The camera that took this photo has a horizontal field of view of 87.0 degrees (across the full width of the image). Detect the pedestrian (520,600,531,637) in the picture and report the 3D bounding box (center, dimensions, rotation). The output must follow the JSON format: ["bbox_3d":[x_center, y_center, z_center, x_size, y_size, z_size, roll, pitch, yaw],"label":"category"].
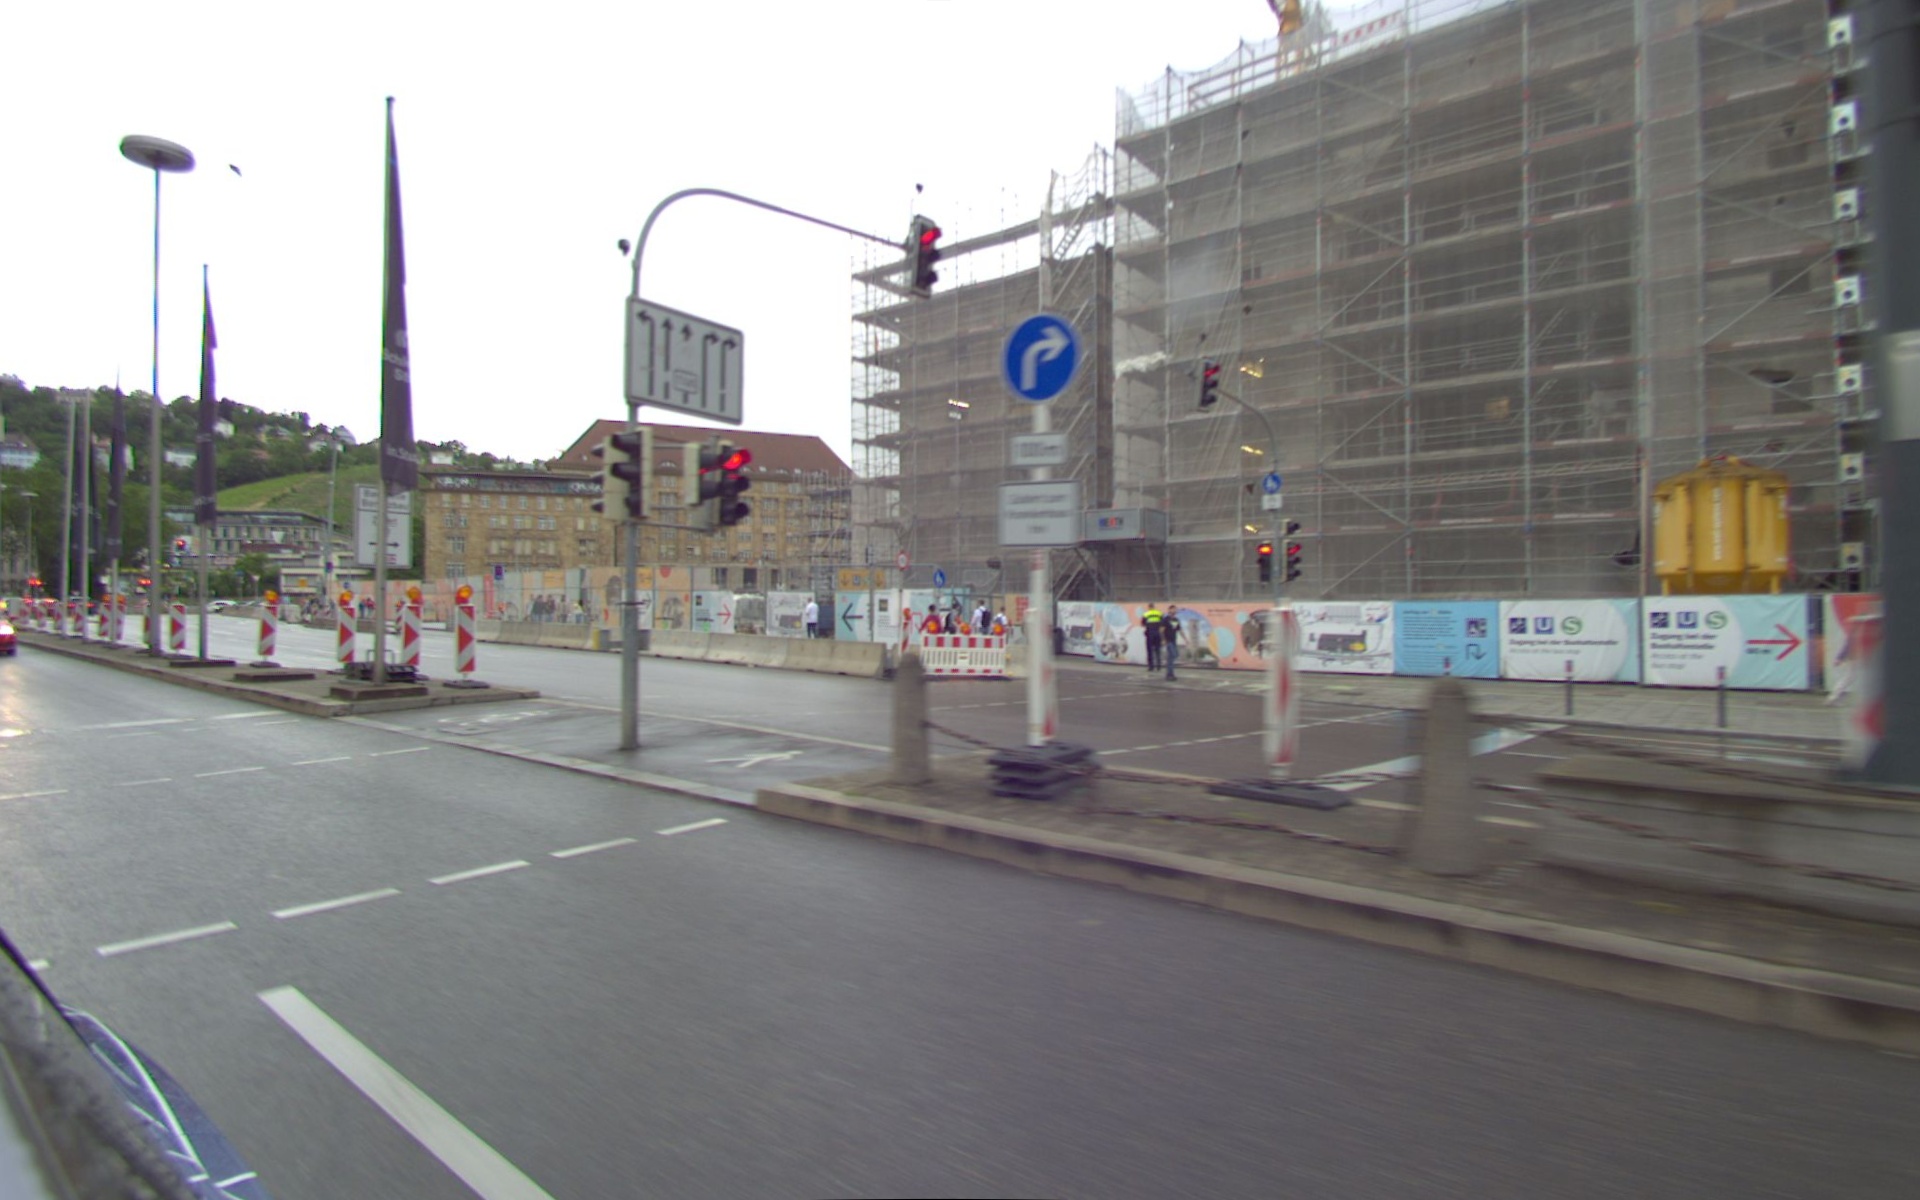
[{"bbox_3d":[-21.075,0.897,49.104,0.391,1.783,0.363,-1,-1,44],"label":"pedestrian"}]

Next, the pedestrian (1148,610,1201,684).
[{"bbox_3d":[5.035,1.079,23.771,0.963,1.694,0.746,-1,-1,41],"label":"pedestrian"}]

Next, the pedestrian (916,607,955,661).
[{"bbox_3d":[-0.733,1.007,30.433,0.709,1.578,0.941,-1,-1,42],"label":"pedestrian"}]

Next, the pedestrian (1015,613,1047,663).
[{"bbox_3d":[2.556,1.343,36.328,0.951,1.749,0.701,0,-1,33],"label":"pedestrian"}]

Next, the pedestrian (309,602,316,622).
[{"bbox_3d":[-54.248,1.014,84.795,0.413,1.628,0.382,-1,-1,41],"label":"pedestrian"}]

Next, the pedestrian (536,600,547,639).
[{"bbox_3d":[-19.469,0.892,47.069,0.365,1.783,0.363,-1,-1,42],"label":"pedestrian"}]

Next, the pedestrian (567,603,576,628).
[{"bbox_3d":[-18.350,0.729,47.763,0.251,1.202,0.390,-1,0,-44],"label":"pedestrian"}]

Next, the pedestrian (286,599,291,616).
[{"bbox_3d":[-62.206,0.683,93.716,0.323,1.628,0.330,-1,-1,41],"label":"pedestrian"}]

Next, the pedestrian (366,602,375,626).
[{"bbox_3d":[-39.295,0.926,67.468,0.413,1.628,0.433,-1,-1,41],"label":"pedestrian"}]

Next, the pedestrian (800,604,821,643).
[{"bbox_3d":[-5.508,0.860,37.339,0.557,1.454,0.529,1,-1,-42],"label":"pedestrian"}]

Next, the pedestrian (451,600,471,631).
[{"bbox_3d":[-27.772,0.862,56.318,0.617,1.697,0.796,-1,-1,44],"label":"pedestrian"}]

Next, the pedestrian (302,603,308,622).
[{"bbox_3d":[-54.668,1.046,84.466,0.357,1.628,0.370,-1,-1,41],"label":"pedestrian"}]

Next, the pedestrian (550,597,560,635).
[{"bbox_3d":[-19.031,0.730,47.539,0.346,1.783,0.307,-1,-1,44],"label":"pedestrian"}]

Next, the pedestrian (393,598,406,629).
[{"bbox_3d":[-37.713,0.908,68.094,0.685,2.049,0.585,-1,-1,41],"label":"pedestrian"}]

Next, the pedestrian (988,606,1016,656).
[{"bbox_3d":[1.422,1.037,34.199,0.696,1.677,0.658,1,0,31],"label":"pedestrian"}]

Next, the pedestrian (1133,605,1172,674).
[{"bbox_3d":[5.187,1.048,27.243,0.755,1.826,0.862,-1,-1,35],"label":"pedestrian"}]

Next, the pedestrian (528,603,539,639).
[{"bbox_3d":[-19.688,0.970,46.707,0.321,1.628,0.345,-1,-1,41],"label":"pedestrian"}]

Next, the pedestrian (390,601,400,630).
[{"bbox_3d":[-40.226,1.120,72.048,0.490,2.029,0.535,0,0,41],"label":"pedestrian"}]

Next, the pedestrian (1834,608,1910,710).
[{"bbox_3d":[15.486,0.979,17.189,0.745,1.677,0.873,1,-1,-41],"label":"pedestrian"}]

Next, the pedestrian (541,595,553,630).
[{"bbox_3d":[-19.512,0.590,47.810,0.395,1.633,0.365,-1,0,-45],"label":"pedestrian"}]

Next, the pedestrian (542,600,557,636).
[{"bbox_3d":[-20.784,0.903,51.260,0.463,1.768,0.511,0,0,41],"label":"pedestrian"}]

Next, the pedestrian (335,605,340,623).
[{"bbox_3d":[-47.006,1.055,76.417,0.351,1.321,0.267,-1,-1,41],"label":"pedestrian"}]

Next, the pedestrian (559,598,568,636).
[{"bbox_3d":[-18.664,0.790,47.638,0.268,1.783,0.310,0,0,44],"label":"pedestrian"}]

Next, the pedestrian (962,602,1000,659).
[{"bbox_3d":[0.631,0.892,30.107,0.872,1.677,0.746,-1,-1,42],"label":"pedestrian"}]

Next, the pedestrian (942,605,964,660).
[{"bbox_3d":[-0.236,1.068,33.381,0.640,1.782,0.527,0,-1,-9],"label":"pedestrian"}]

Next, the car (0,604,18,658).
[{"bbox_3d":[-26.641,0.806,27.040,3.998,1.388,1.724,-1,-1,41],"label":"car"}]

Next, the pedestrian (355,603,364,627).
[{"bbox_3d":[-42.313,1.051,71.343,0.413,1.628,0.433,-1,-1,41],"label":"pedestrian"}]
